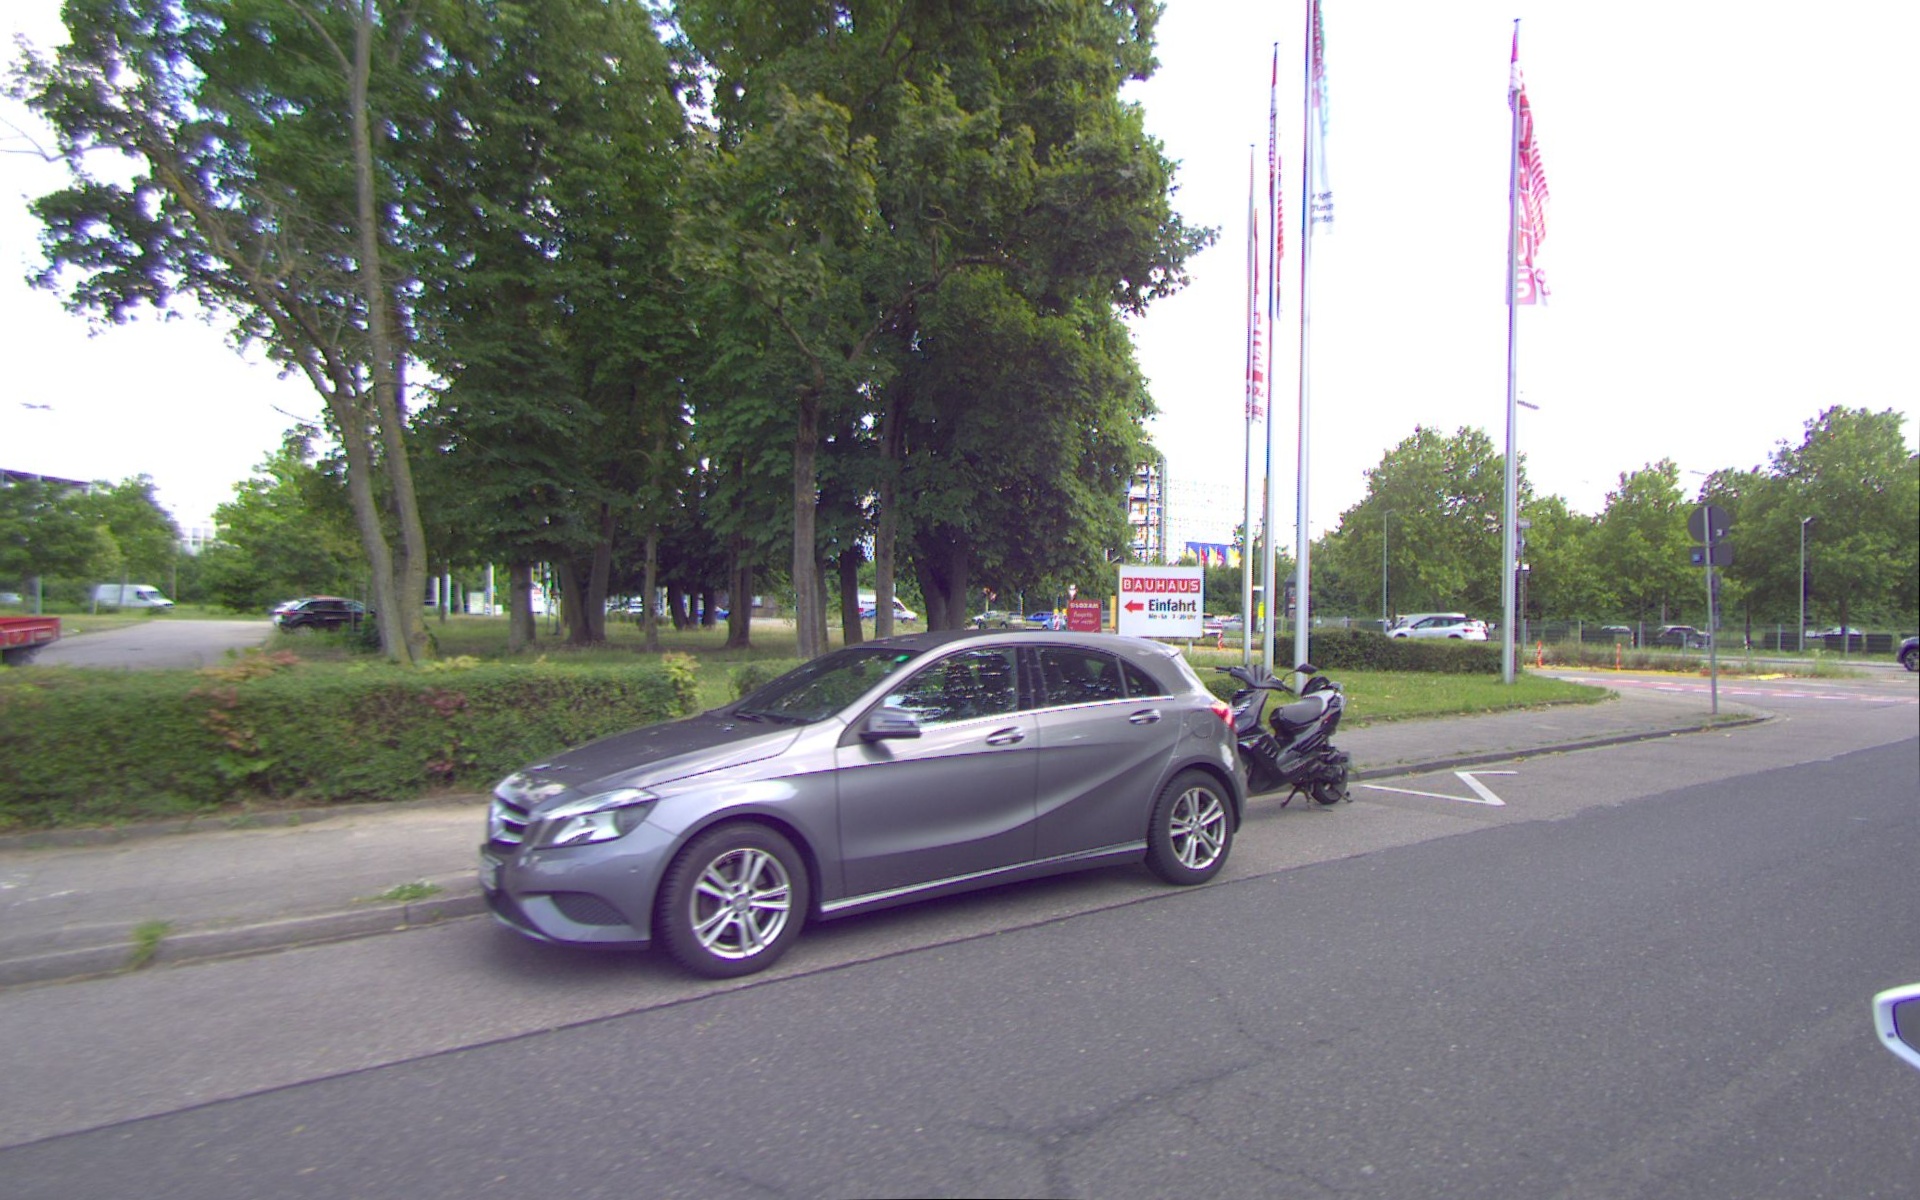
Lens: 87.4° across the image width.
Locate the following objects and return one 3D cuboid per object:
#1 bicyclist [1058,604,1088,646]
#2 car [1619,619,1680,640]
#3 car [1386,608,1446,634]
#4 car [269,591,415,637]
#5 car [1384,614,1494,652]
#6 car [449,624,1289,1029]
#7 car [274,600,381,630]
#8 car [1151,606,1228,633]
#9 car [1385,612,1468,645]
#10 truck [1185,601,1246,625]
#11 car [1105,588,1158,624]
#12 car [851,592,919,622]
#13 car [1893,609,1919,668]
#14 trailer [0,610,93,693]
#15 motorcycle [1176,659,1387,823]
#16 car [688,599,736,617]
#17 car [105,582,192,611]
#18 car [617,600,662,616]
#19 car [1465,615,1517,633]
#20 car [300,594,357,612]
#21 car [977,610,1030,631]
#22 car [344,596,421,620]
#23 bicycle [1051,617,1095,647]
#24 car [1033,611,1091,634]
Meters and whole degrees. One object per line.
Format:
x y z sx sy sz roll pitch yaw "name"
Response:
4.581 1.010 40.687 0.727 1.670 0.999 -1 0 -38 "bicyclist"
62.303 2.683 90.814 4.215 1.744 1.920 1 0 -1 "car"
40.128 1.865 88.432 4.480 2.164 1.861 1 0 -2 "car"
-21.844 0.509 35.586 4.313 1.531 1.558 2 -1 -35 "car"
21.882 1.466 46.040 1.905 1.600 4.192 1 0 -35 "car"
-0.320 0.872 5.488 4.284 1.438 1.700 1 -3 -33 "car"
-31.208 0.750 49.625 4.365 1.431 1.981 1 0 -34 "car"
13.321 1.115 58.386 1.905 1.424 4.192 1 0 -35 "car"
33.634 2.000 72.527 1.781 2.240 5.248 1 -1 -36 "car"
26.039 1.327 102.530 5.623 2.319 2.033 1 0 -1 "truck"
13.214 0.489 77.001 2.165 2.612 6.396 1 -1 27 "car"
-6.659 0.627 89.630 5.793 2.475 2.212 1 0 0 "car"
31.044 1.211 30.096 1.932 1.840 4.269 1 0 -9 "car"
-15.893 0.794 16.446 1.693 1.206 3.802 0 0 -27 "trailer"
2.608 1.072 8.074 1.783 1.153 0.618 1 -3 -33 "motorcycle"
-22.601 0.763 91.672 3.921 1.532 1.920 1 0 -1 "car"
-72.980 -0.270 90.387 5.793 2.475 2.366 1 0 0 "car"
-31.900 0.810 100.095 3.833 1.523 1.874 1 0 -1 "car"
50.883 2.294 96.258 3.921 1.684 1.920 1 0 -1 "car"
-56.567 0.294 90.024 3.921 1.532 1.920 1 0 -1 "car"
3.153 1.453 73.137 1.780 1.424 3.990 1 0 -35 "car"
-53.402 0.761 93.002 5.793 2.104 2.212 1 0 0 "car"
4.553 1.272 40.728 0.723 1.181 1.795 -1 0 -38 "bicycle"
6.880 1.504 68.223 1.780 1.424 3.990 1 0 -35 "car"
